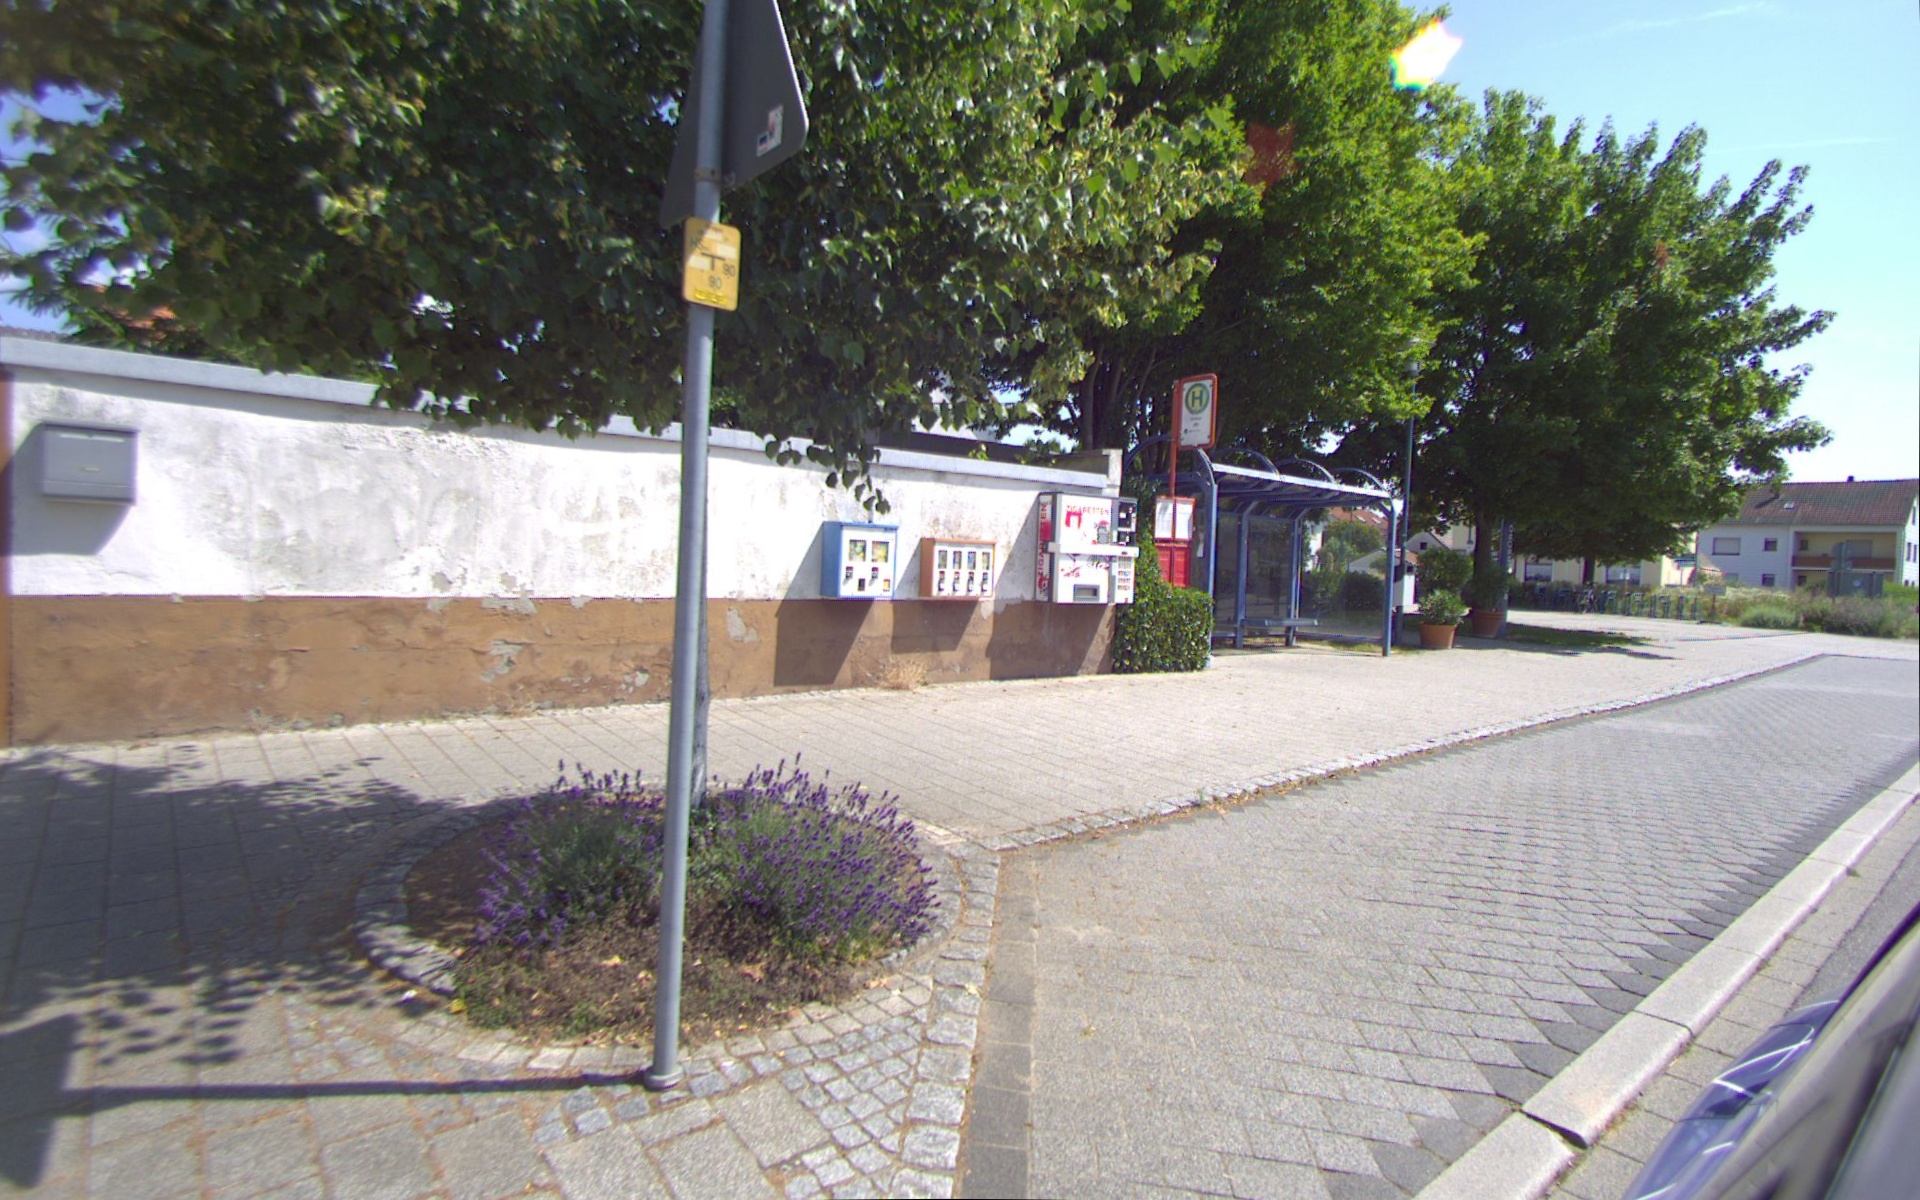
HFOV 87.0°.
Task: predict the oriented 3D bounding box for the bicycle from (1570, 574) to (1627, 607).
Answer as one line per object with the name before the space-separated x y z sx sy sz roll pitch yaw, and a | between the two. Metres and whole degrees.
bicycle | 22.928 -0.348 36.327 2.582 1.125 0.839 -1 3 -37
